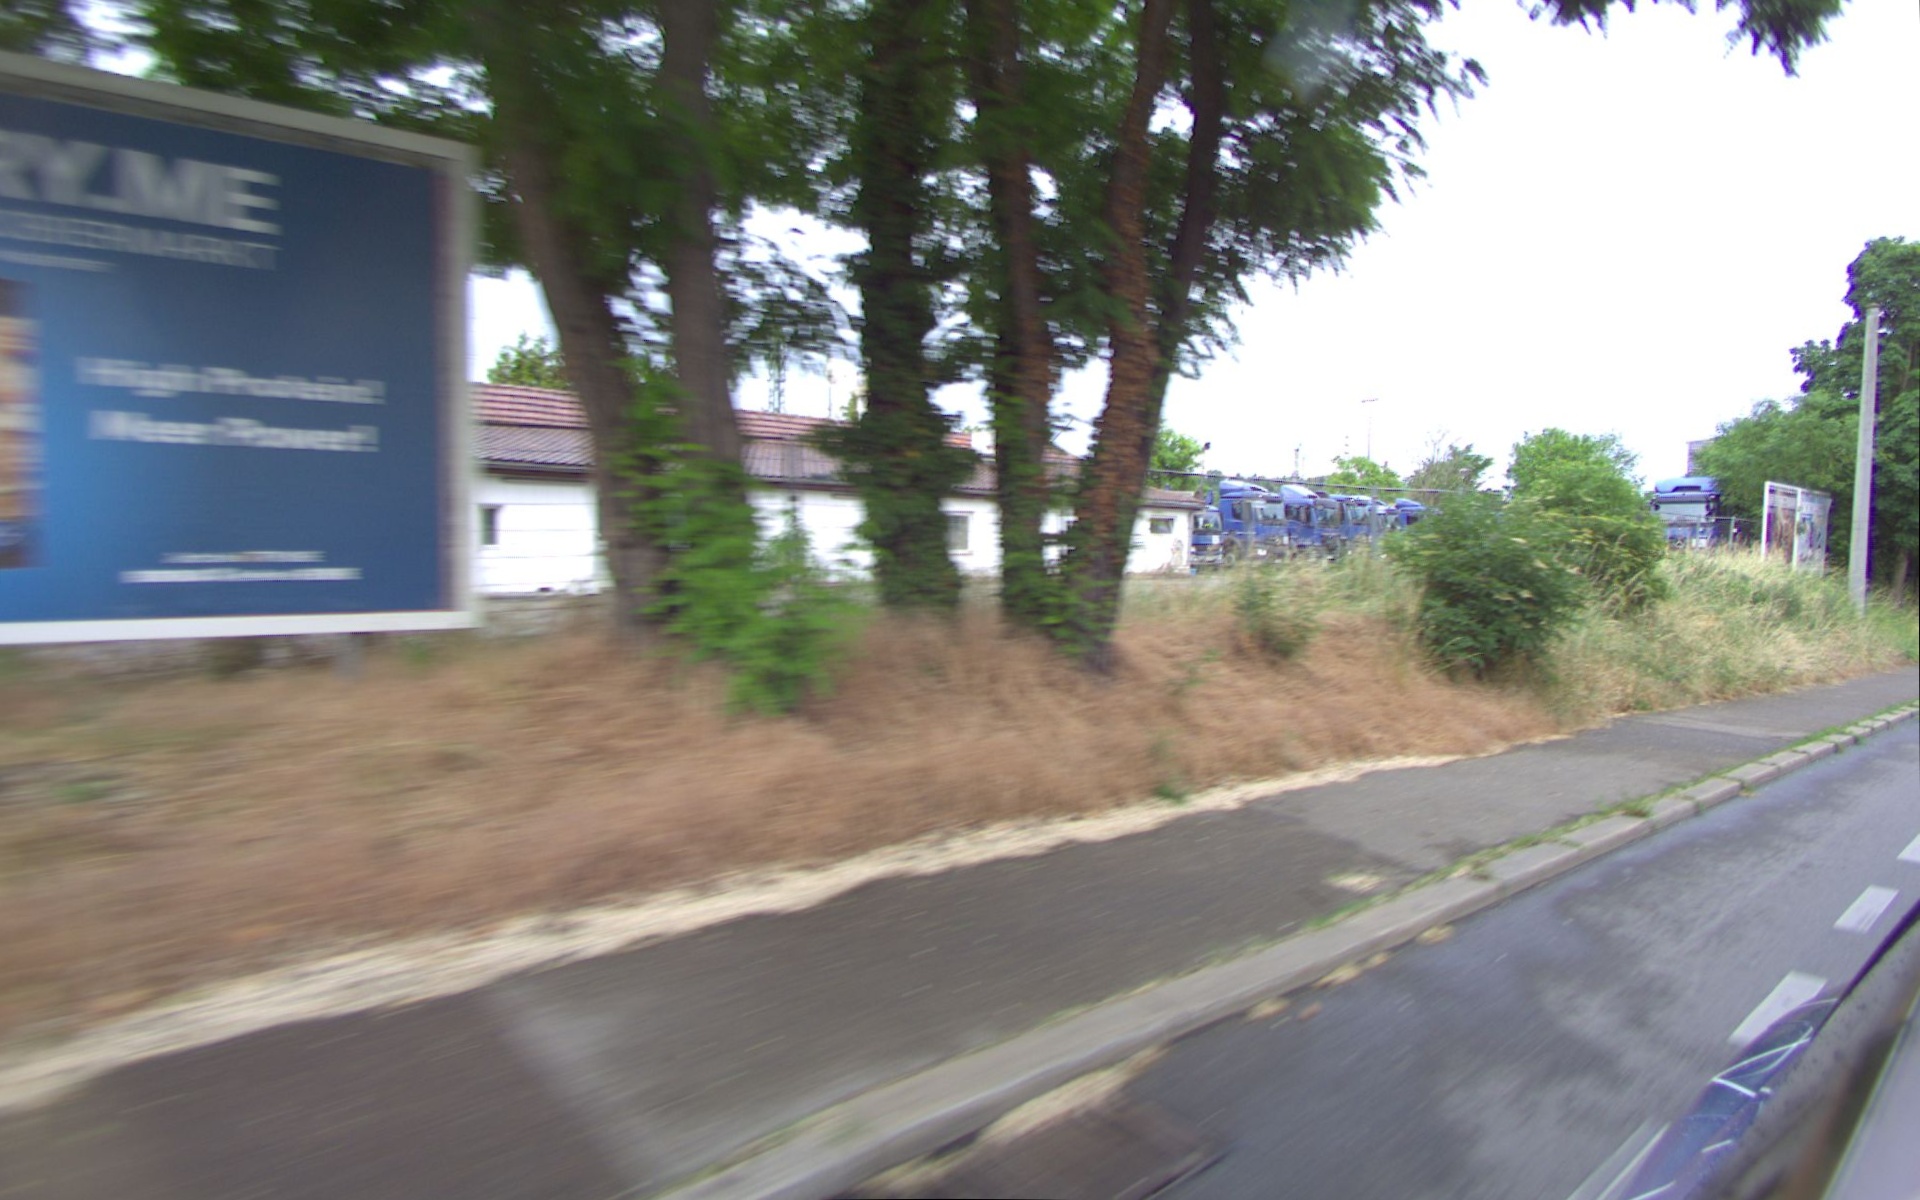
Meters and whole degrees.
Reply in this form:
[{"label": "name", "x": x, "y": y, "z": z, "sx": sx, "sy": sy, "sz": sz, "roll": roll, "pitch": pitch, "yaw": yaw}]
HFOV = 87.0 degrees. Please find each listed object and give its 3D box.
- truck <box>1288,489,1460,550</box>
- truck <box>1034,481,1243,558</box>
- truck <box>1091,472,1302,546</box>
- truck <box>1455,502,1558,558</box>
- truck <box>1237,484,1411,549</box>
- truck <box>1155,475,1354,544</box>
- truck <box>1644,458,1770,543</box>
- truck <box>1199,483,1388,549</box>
[{"label": "truck", "x": 20.889, "y": -4.045, "z": 51.540, "sx": 2.543, "sy": 2.849, "sz": 7.751, "roll": -2, "pitch": 4, "yaw": -41}, {"label": "truck", "x": 6.603, "y": -3.015, "z": 38.689, "sx": 2.586, "sy": 2.649, "sz": 8.016, "roll": -2, "pitch": 4, "yaw": -41}, {"label": "truck", "x": 9.266, "y": -3.550, "z": 40.678, "sx": 2.543, "sy": 2.648, "sz": 8.313, "roll": -2, "pitch": 4, "yaw": -41}, {"label": "truck", "x": 33.868, "y": -4.224, "z": 62.527, "sx": 9.473, "sy": 3.235, "sz": 2.255, "roll": -2, "pitch": 2, "yaw": -40}, {"label": "truck", "x": 17.589, "y": -4.005, "z": 49.454, "sx": 2.543, "sy": 2.890, "sz": 7.724, "roll": -2, "pitch": 4, "yaw": -41}, {"label": "truck", "x": 12.408, "y": -3.790, "z": 43.396, "sx": 2.543, "sy": 2.686, "sz": 8.106, "roll": -2, "pitch": 4, "yaw": -41}, {"label": "truck", "x": 27.854, "y": -3.597, "z": 37.662, "sx": 5.946, "sy": 2.684, "sz": 2.288, "roll": -2, "pitch": -2, "yaw": -40}, {"label": "truck", "x": 15.069, "y": -3.762, "z": 46.377, "sx": 2.543, "sy": 2.771, "sz": 8.020, "roll": -2, "pitch": 4, "yaw": -41}]
